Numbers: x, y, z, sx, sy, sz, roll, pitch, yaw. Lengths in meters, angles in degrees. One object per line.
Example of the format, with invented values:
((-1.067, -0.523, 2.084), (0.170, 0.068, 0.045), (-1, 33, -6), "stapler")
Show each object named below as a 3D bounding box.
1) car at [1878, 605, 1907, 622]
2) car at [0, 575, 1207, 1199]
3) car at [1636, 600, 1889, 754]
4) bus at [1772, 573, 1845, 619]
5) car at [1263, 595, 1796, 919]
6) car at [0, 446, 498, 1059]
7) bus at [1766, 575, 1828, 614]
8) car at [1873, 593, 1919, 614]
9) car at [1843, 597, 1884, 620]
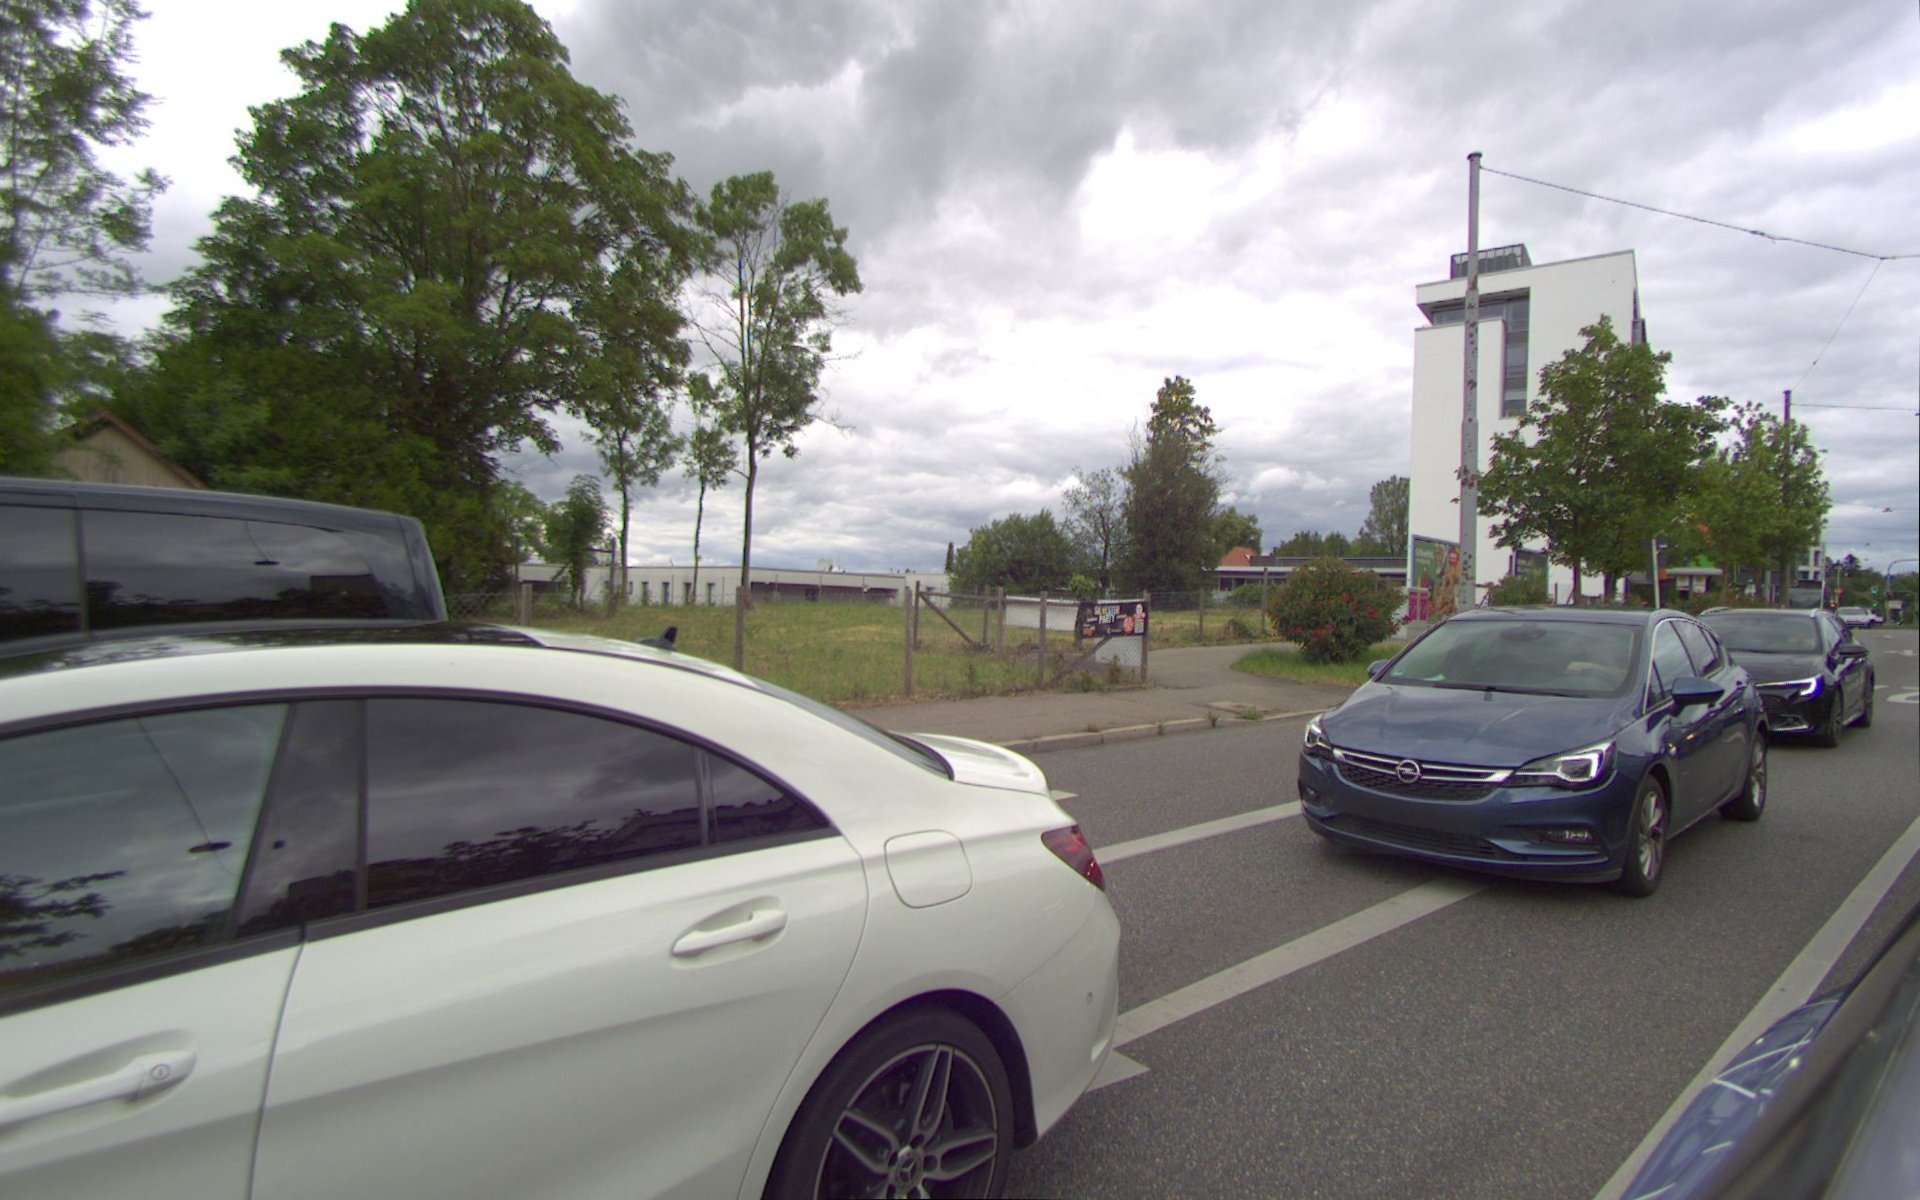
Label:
((102.826, 1.462, 111.578), (3.930, 1.705, 1.997), (-1, 0, -41), "car")
((-1.535, 0.692, 1.820), (4.300, 1.451, 1.652), (0, 1, -41), "car")
((9.336, 0.742, 11.670), (3.854, 1.475, 1.663), (0, 0, -42), "car")
((53.958, -0.318, 64.578), (2.952, 2.664, 11.986), (0, 1, 37), "bus")
((3.813, 0.687, 6.487), (3.931, 1.428, 1.825), (0, 0, -42), "car")
((-4.213, 0.471, 3.255), (4.627, 1.863, 1.952), (0, -1, -41), "car")
((61.425, -0.453, 74.478), (2.952, 2.664, 12.751), (0, 1, 37), "bus")
((86.127, 0.318, 92.166), (4.068, 1.910, 1.848), (-1, -1, 9), "car")
((66.582, 0.621, 74.627), (1.841, 1.637, 3.735), (-1, -1, 35), "car")
